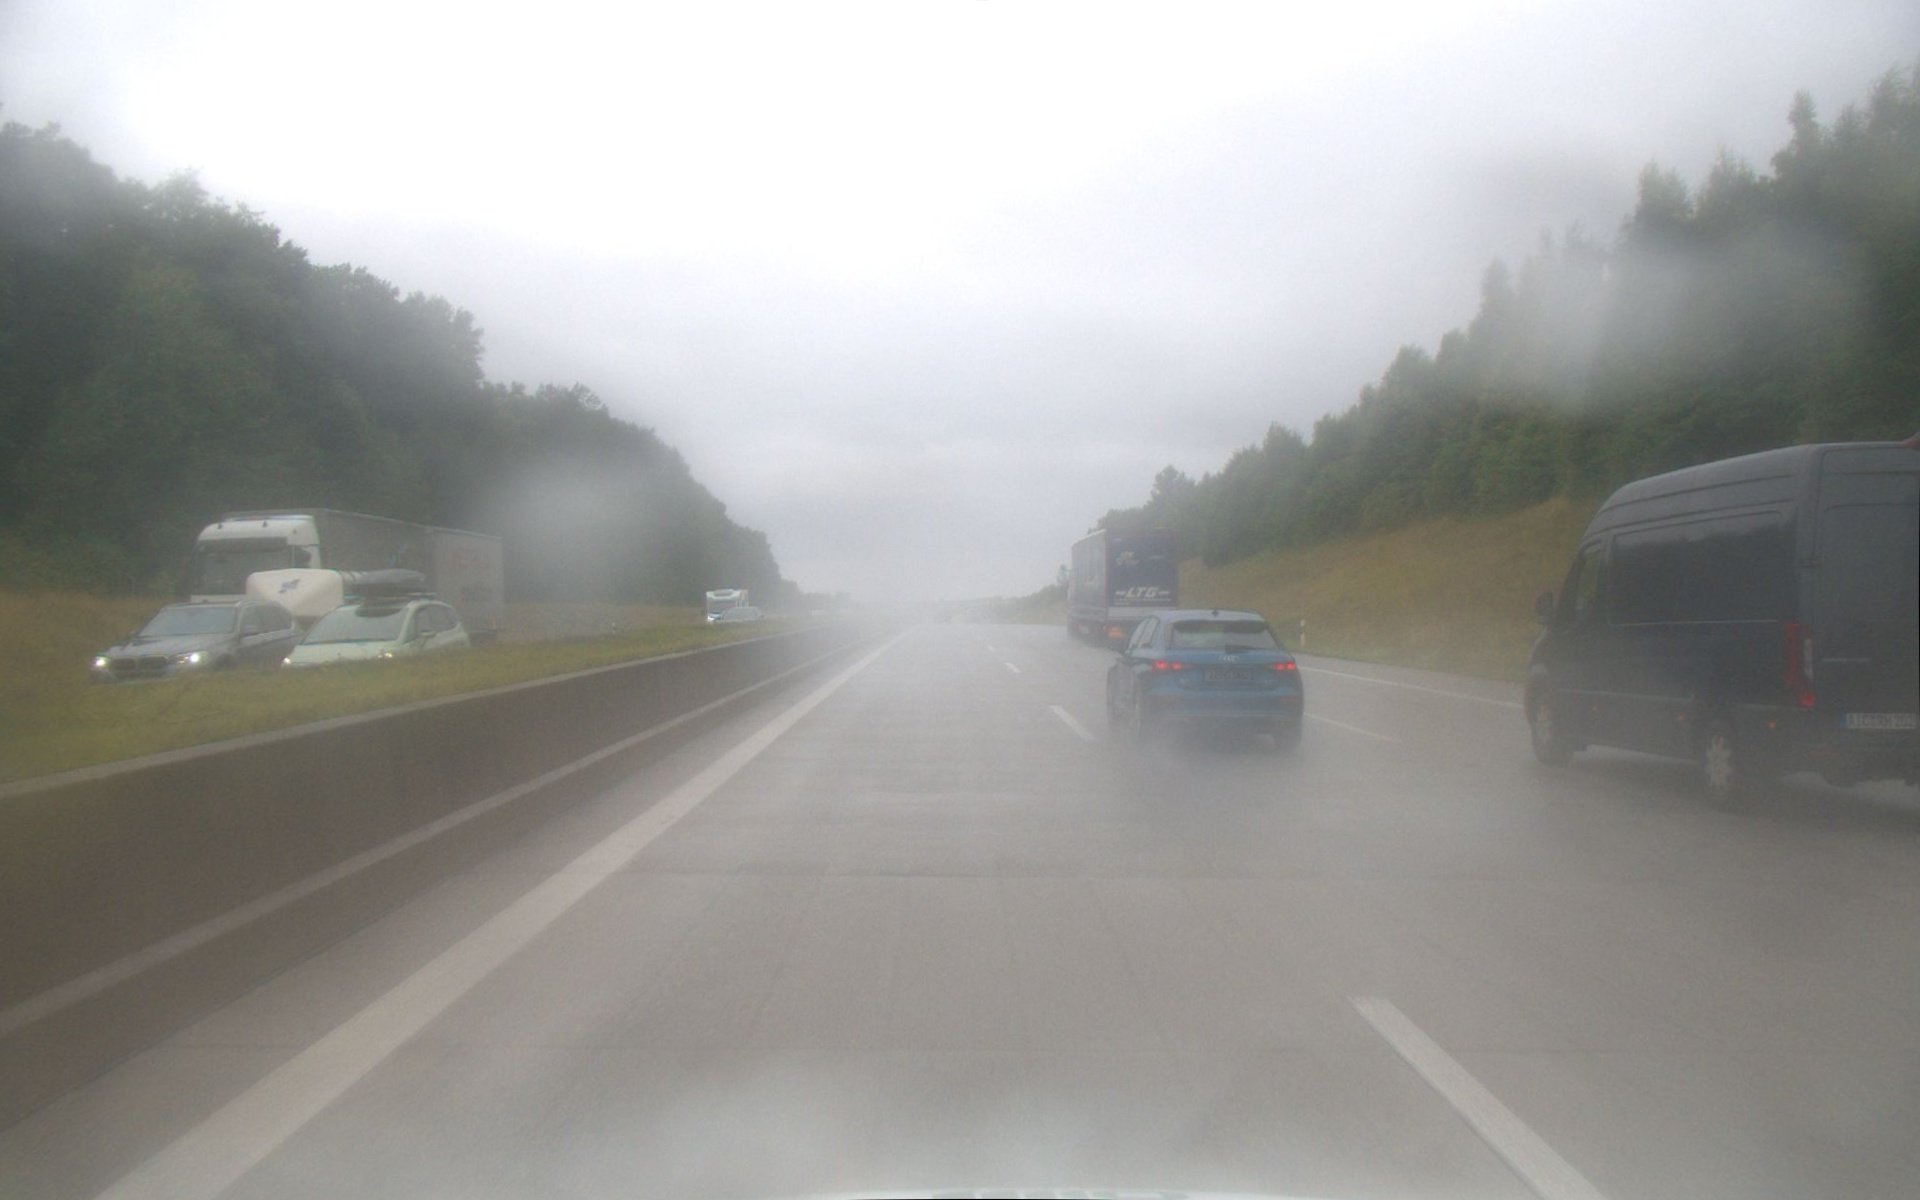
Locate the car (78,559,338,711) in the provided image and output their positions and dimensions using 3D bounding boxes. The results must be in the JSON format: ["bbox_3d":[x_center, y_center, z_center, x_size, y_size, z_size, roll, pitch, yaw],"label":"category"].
[{"bbox_3d":[-12.220,0.509,27.317,1.953,2.218,5.206,-1,0,-1],"label":"car"}]

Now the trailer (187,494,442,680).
[{"bbox_3d":[-16.313,-0.335,42.801,2.534,4.117,10.372,-3,0,-1],"label":"trailer"}]

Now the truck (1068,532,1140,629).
[{"bbox_3d":[6.178,-0.780,71.684,2.582,4.023,5.685,1,-1,0],"label":"truck"}]

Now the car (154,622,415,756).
[{"bbox_3d":[-8.895,1.102,22.215,1.719,1.494,4.448,-1,0,-1],"label":"car"}]

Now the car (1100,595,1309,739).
[{"bbox_3d":[2.755,0.751,19.649,1.694,1.484,4.671,-1,-1,-1],"label":"car"}]

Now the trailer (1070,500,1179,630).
[{"bbox_3d":[6.234,-1.127,65.040,2.651,4.456,15.202,1,-1,0],"label":"trailer"}]

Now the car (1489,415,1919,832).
[{"bbox_3d":[6.519,0.157,14.067,1.901,2.705,6.586,1,0,0],"label":"car"}]

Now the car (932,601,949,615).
[{"bbox_3d":[-1.928,0.760,162.593,1.694,1.354,4.428,0,0,-1],"label":"car"}]

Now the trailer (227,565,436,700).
[{"bbox_3d":[-12.321,0.589,32.904,1.997,2.414,5.832,-1,0,-1],"label":"trailer"}]
